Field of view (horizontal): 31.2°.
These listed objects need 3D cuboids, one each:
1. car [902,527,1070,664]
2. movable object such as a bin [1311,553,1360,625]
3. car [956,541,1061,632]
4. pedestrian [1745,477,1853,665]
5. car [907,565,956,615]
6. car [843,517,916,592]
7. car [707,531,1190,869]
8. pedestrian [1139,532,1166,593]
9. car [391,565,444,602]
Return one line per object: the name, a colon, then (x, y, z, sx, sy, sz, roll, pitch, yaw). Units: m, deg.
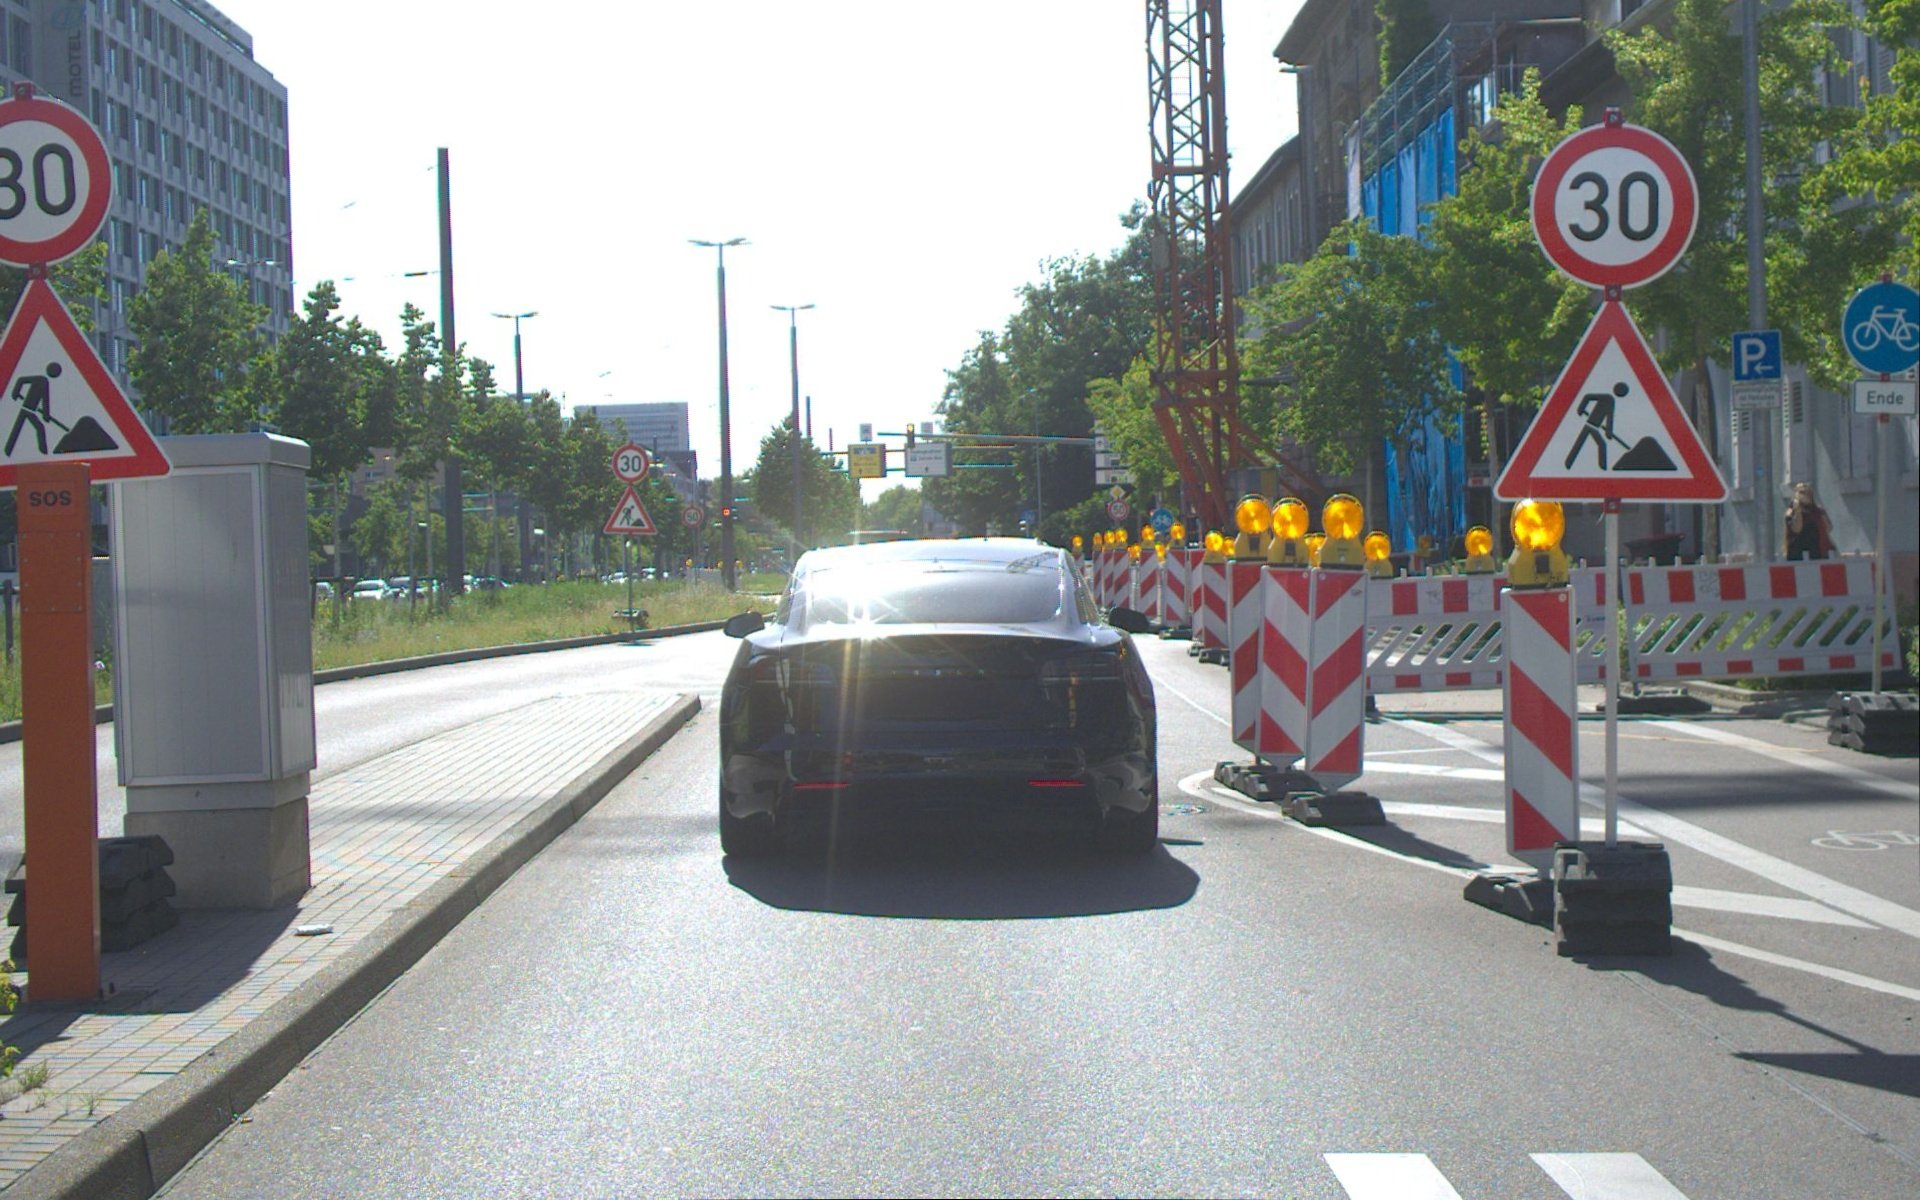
car: (0.240, -0.079, 38.693, 1.747, 1.422, 4.838, -1, 1, -1)
movable object such as a bin: (5.843, -0.174, 53.477, 0.595, 1.054, 0.730, -5, 1, 0)
car: (0.813, -0.248, 59.594, 1.749, 1.522, 4.005, 0, 1, 0)
pedestrian: (8.721, -0.307, 35.759, 0.793, 1.922, 0.770, -1, 1, -18)
car: (-1.119, -0.386, 132.668, 1.791, 1.867, 3.850, 0, 0, -2)
car: (-2.502, -1.431, 106.847, 2.218, 2.259, 4.484, 0, 1, -2)
car: (-0.079, 0.397, 16.907, 2.051, 1.439, 4.524, 0, 1, -1)
pedestrian: (6.117, -1.187, 109.183, 0.658, 1.906, 0.587, -5, 1, -1)
car: (-25.072, -0.772, 159.033, 1.790, 1.645, 4.000, -2, 0, 0)
